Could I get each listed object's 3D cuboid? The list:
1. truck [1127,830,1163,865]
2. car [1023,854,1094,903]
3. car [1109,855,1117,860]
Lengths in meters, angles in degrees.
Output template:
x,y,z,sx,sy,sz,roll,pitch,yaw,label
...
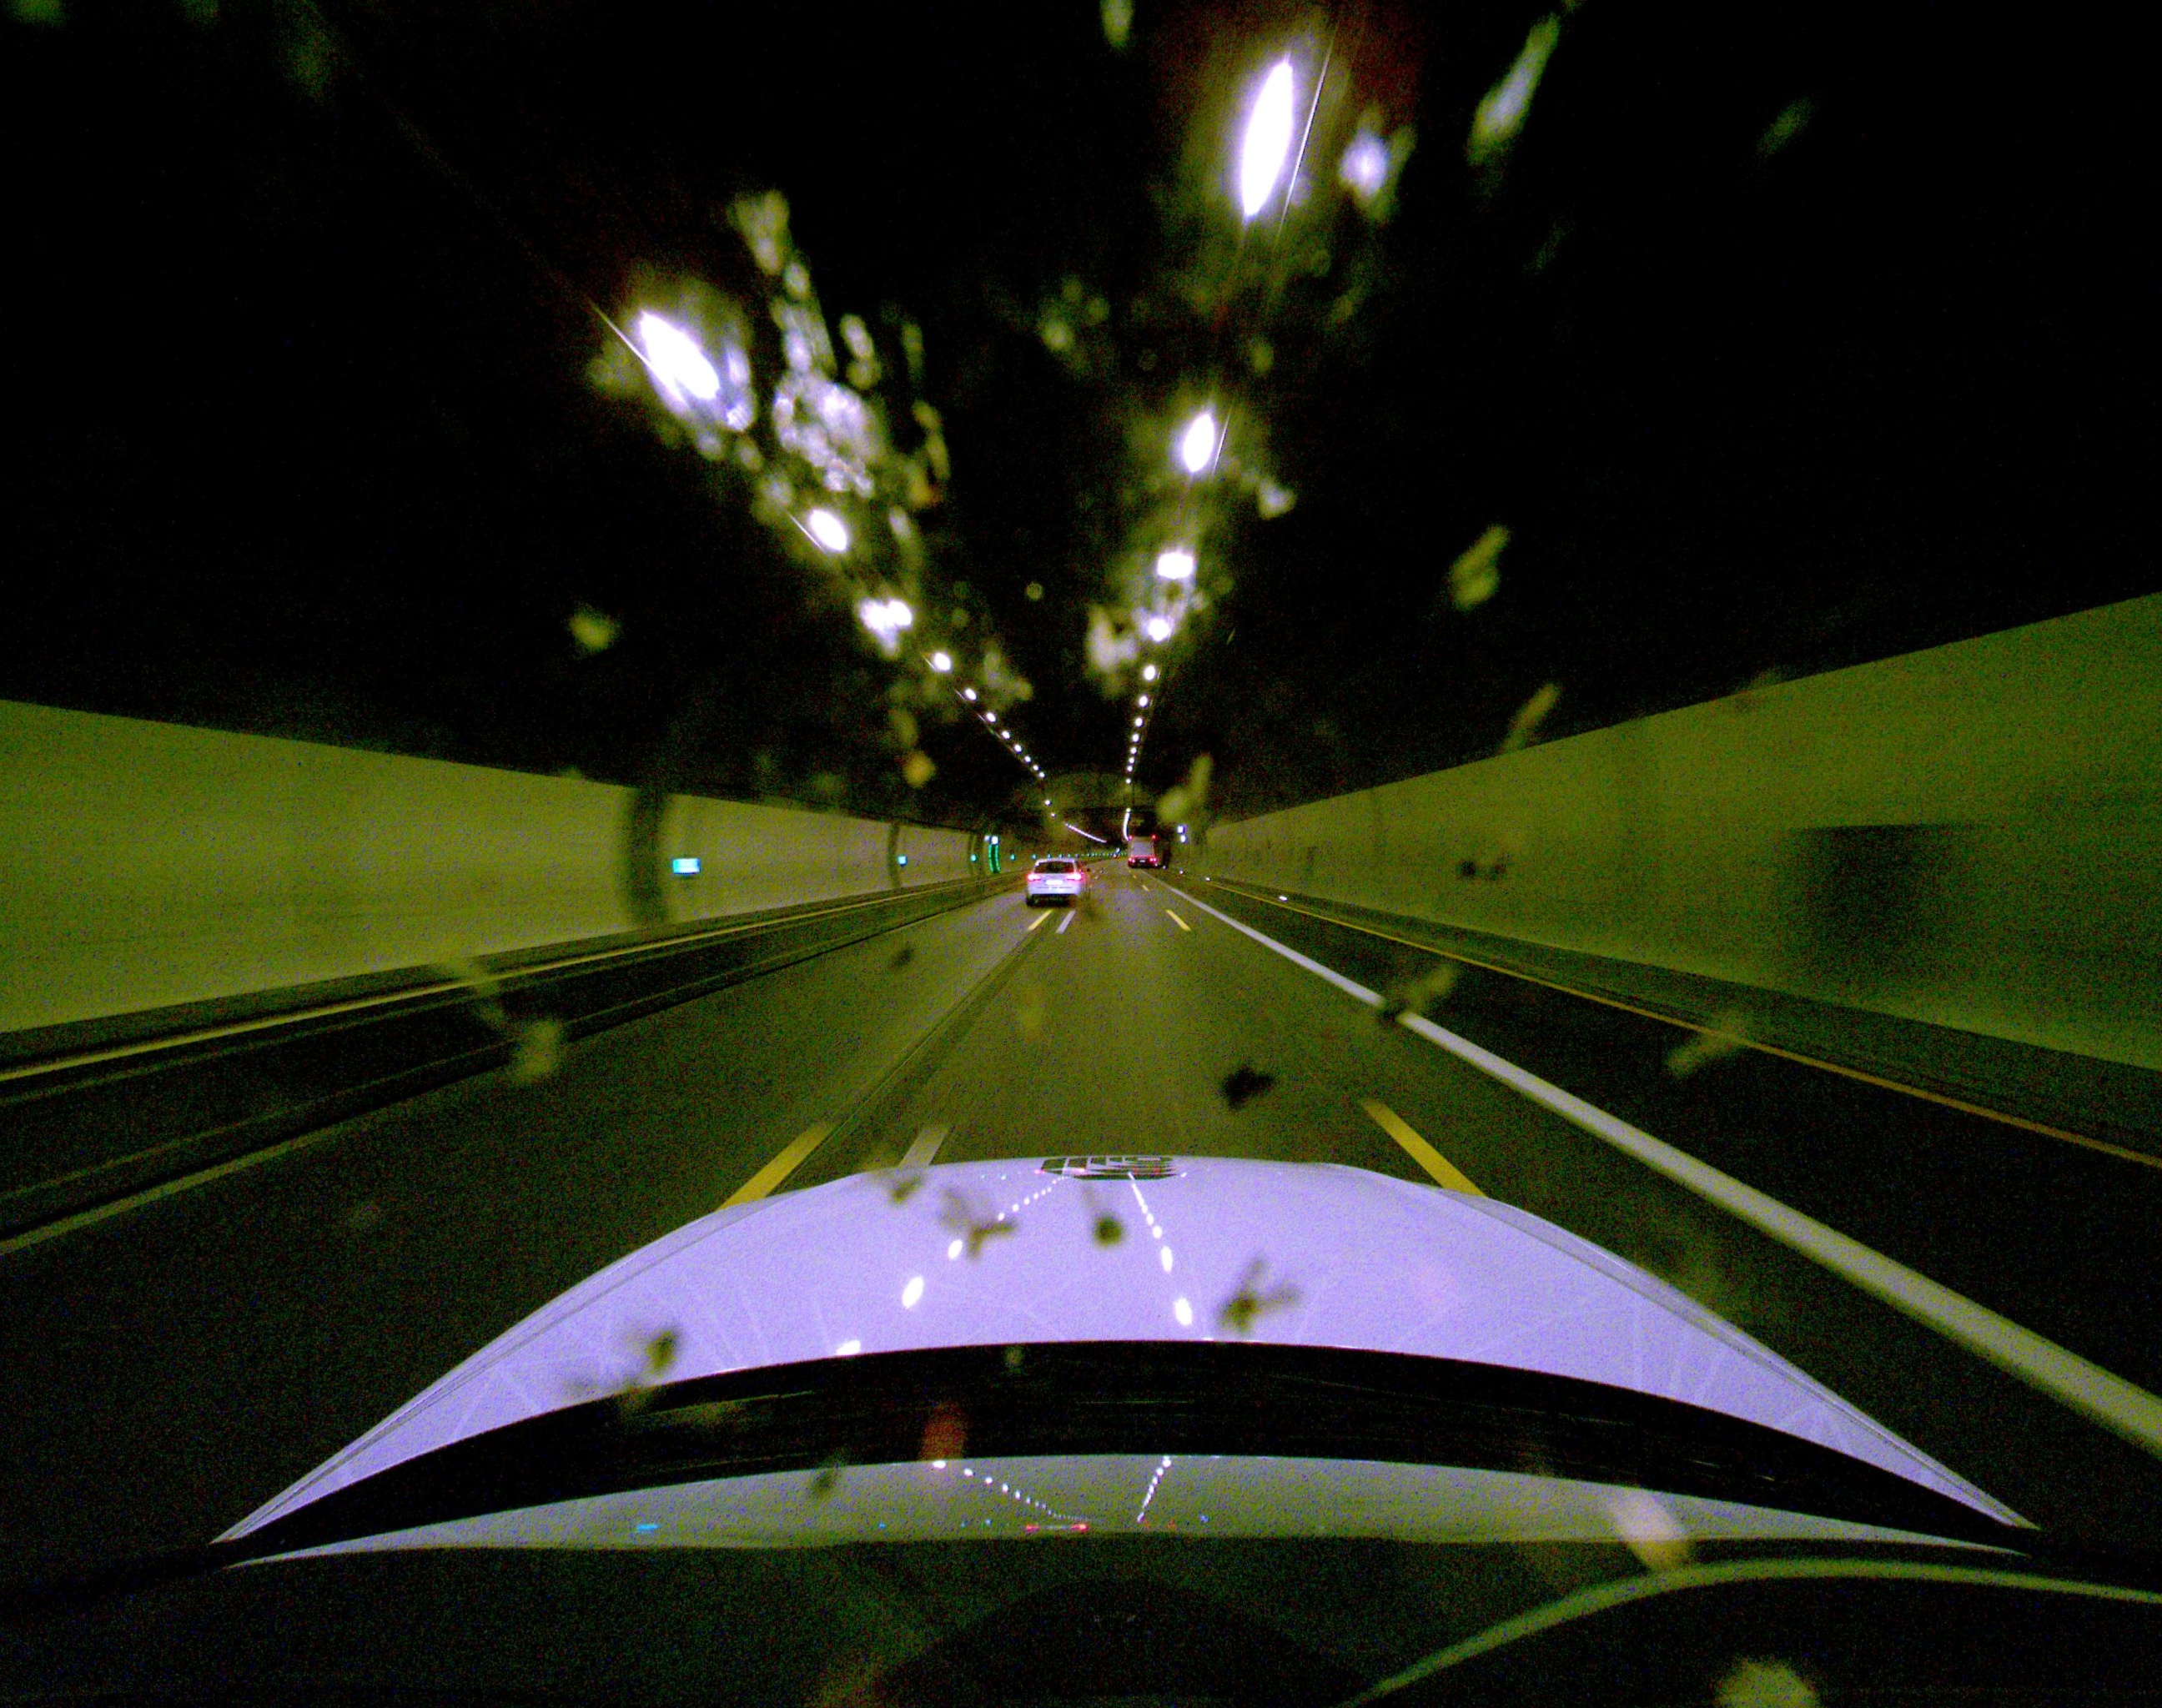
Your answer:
x,y,z,sx,sy,sz,roll,pitch,yaw,label
7.064,-0.689,91.539,3.579,3.650,10.726,-1,0,2,truck
-0.621,0.732,26.345,1.986,1.413,4.744,-1,0,2,car
9.881,1.062,249.409,1.983,1.519,4.007,0,-1,6,car
